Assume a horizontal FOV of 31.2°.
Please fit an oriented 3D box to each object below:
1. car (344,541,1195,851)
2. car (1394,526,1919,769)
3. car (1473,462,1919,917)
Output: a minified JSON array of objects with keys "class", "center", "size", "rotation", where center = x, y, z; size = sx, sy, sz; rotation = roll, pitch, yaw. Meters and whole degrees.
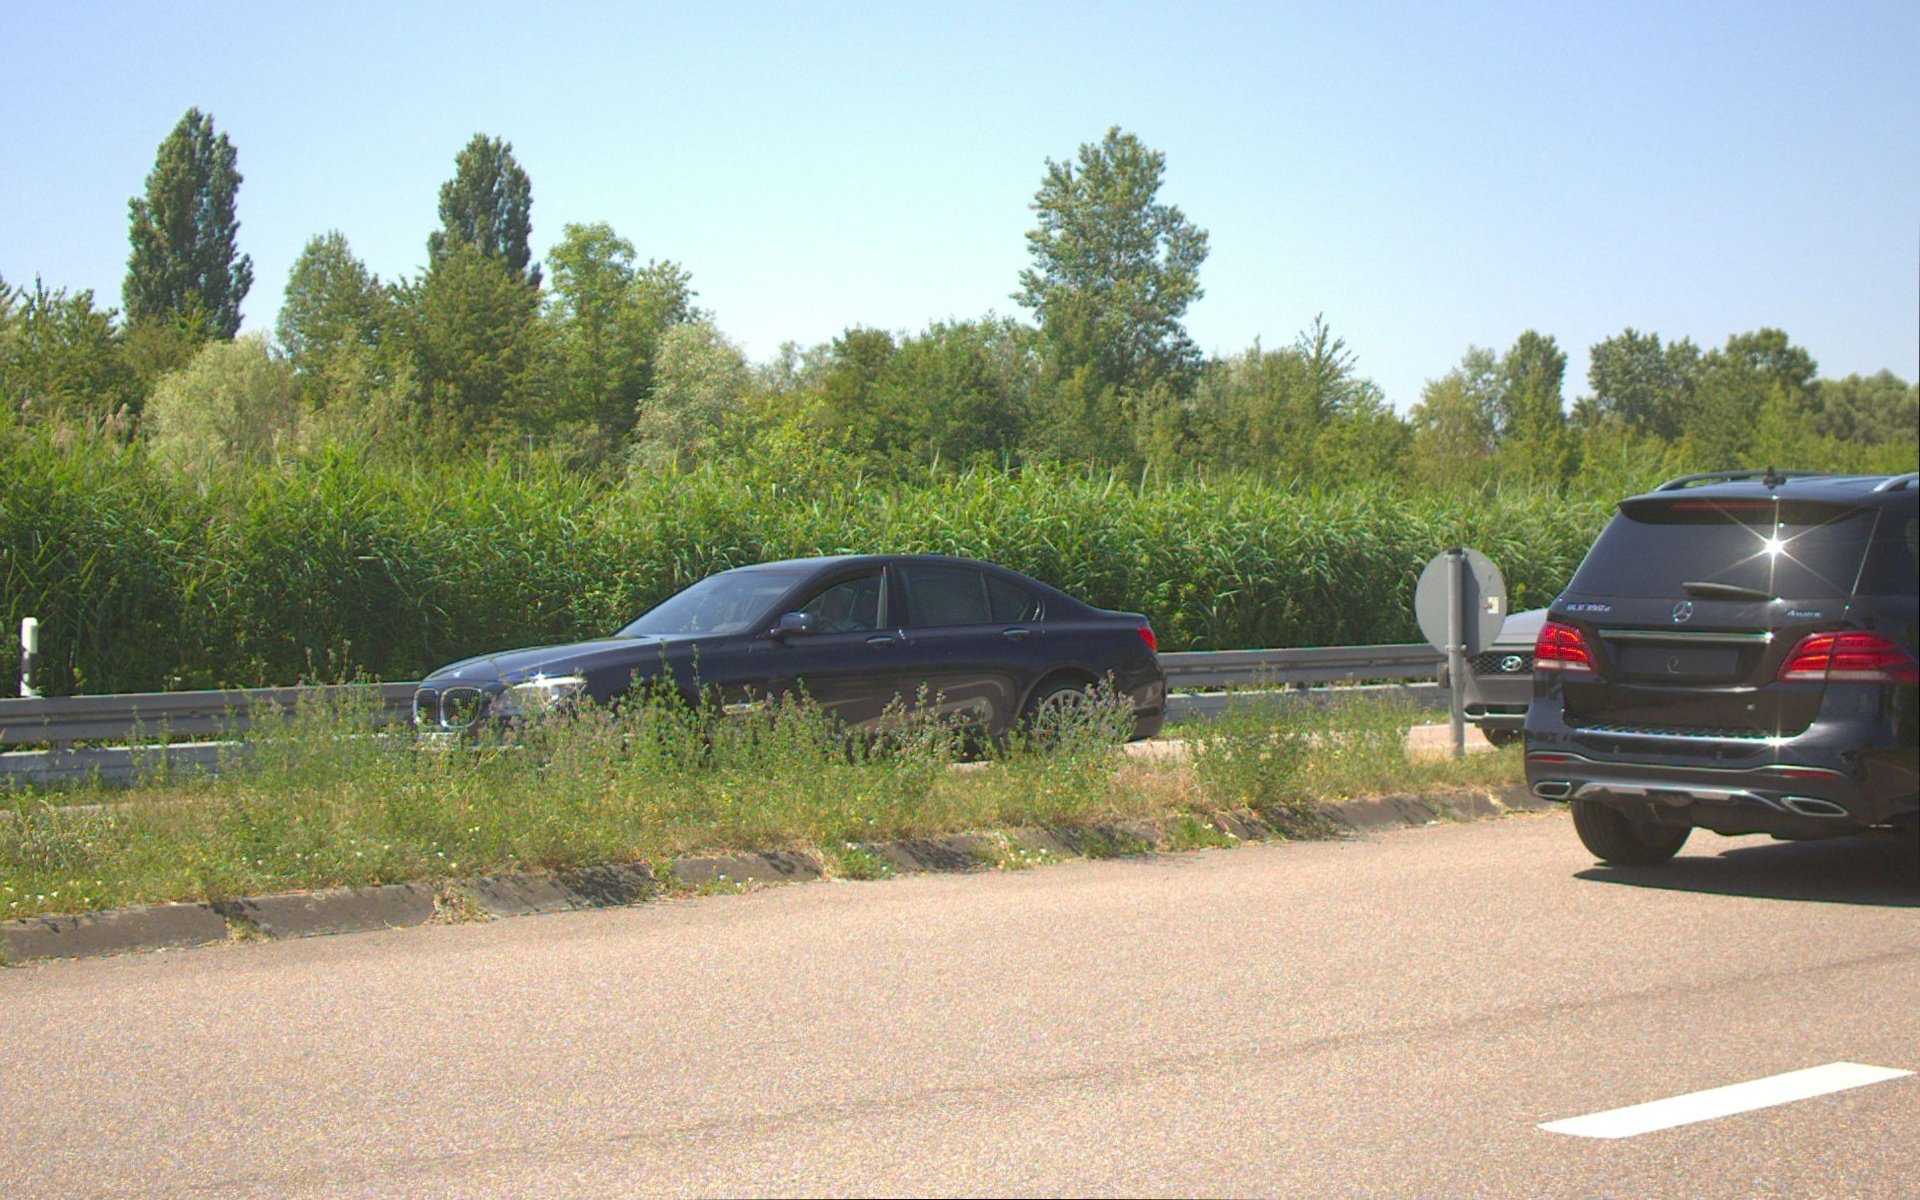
[{"class":"car","center":[-1.086,0.500,21.112],"size":[4.926,1.626,1.933],"rotation":[-2,1,-36]},{"class":"car","center":[5.473,0.296,25.757],"size":[4.225,1.626,1.933],"rotation":[-2,1,-37]},{"class":"car","center":[4.493,0.313,15.600],"size":[4.585,1.762,1.932],"rotation":[-1,1,-45]}]
